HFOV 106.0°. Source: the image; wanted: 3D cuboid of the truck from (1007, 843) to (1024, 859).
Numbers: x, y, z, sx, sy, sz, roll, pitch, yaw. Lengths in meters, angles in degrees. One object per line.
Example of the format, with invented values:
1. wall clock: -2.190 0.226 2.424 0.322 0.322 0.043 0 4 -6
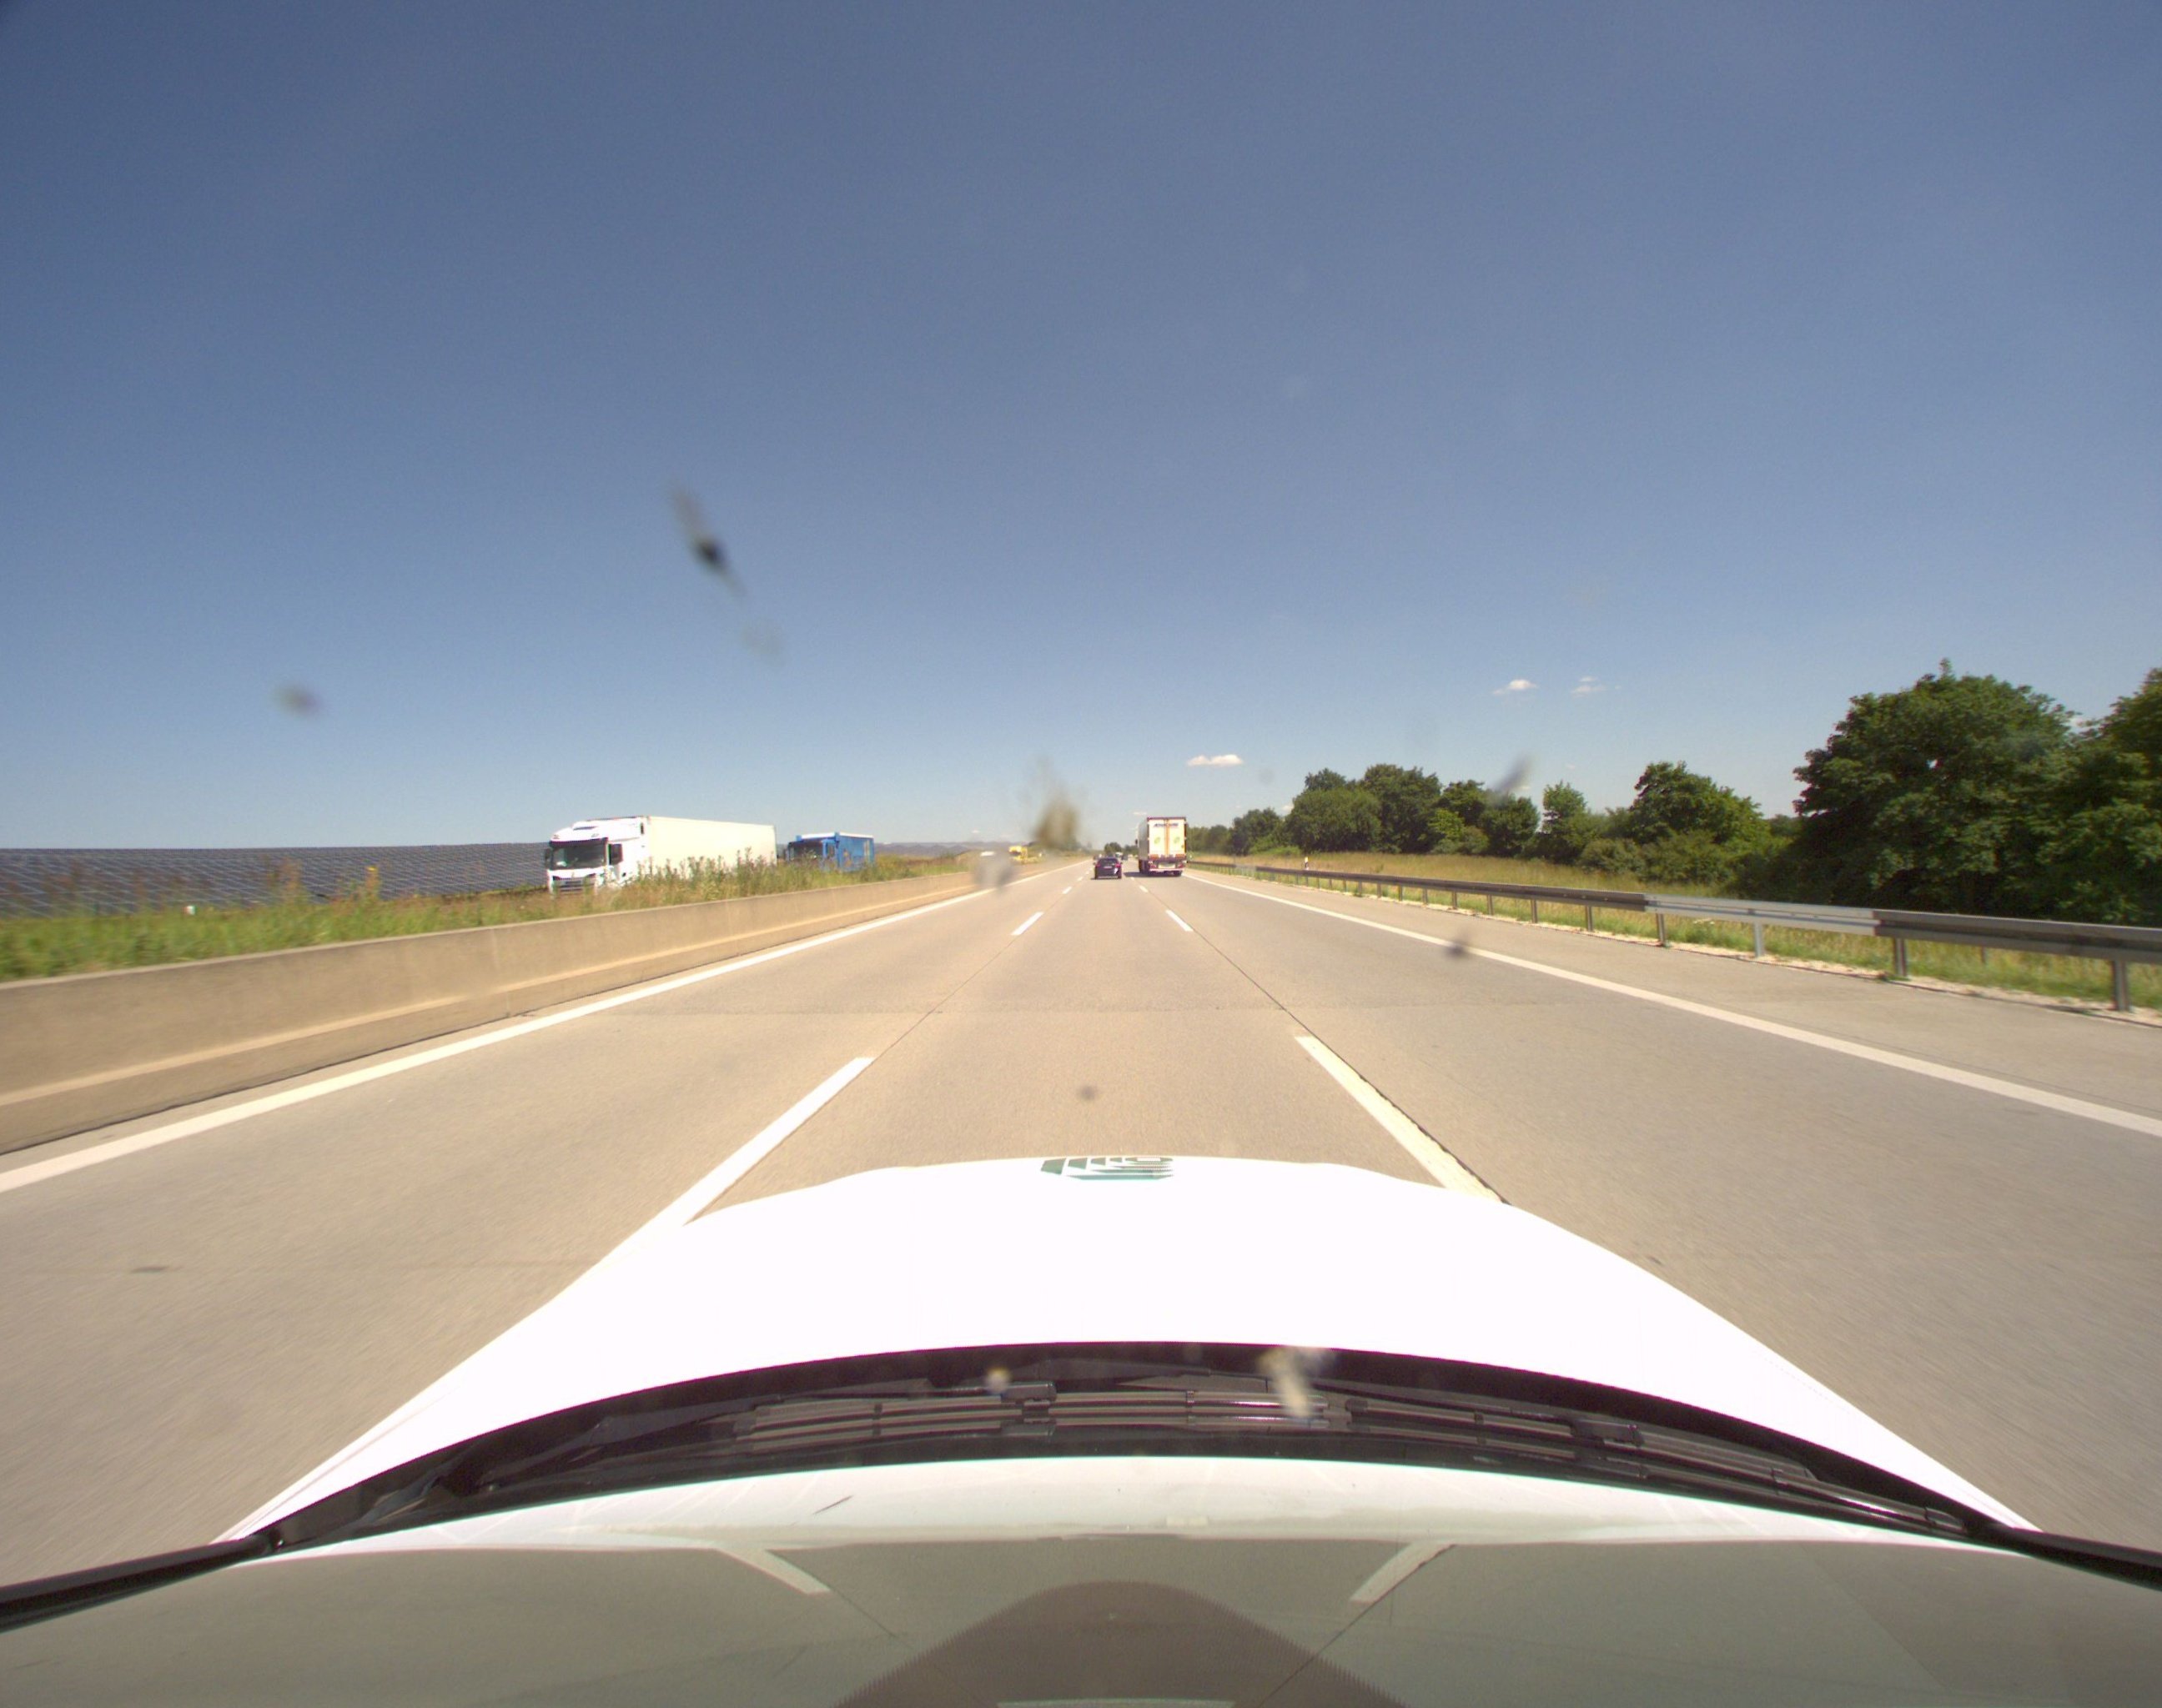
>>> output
1. truck: -14.394 -0.621 178.589 2.911 3.540 6.350 -1 -1 2

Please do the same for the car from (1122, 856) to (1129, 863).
1. car: 12.327 1.624 227.052 1.820 1.907 4.001 -1 -1 1

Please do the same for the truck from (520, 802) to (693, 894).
1. truck: -19.804 -0.190 34.637 3.110 3.487 6.888 0 -1 2

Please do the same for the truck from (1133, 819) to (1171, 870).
1. truck: 5.886 -0.725 68.226 2.801 4.088 5.800 -1 0 2

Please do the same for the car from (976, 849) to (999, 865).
1. car: -12.511 0.428 109.142 2.176 2.014 6.349 0 -1 1

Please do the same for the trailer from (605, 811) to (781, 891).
1. trailer: -19.445 -0.063 42.119 3.062 3.524 11.769 0 -1 2

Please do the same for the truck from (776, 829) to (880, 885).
1. truck: -15.153 0.226 49.853 2.814 3.064 10.378 0 -1 2

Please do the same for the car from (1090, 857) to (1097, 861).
1. car: 3.588 1.390 232.851 1.649 1.196 3.962 2 0 2

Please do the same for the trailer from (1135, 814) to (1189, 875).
1. trailer: 5.796 -0.631 60.457 2.843 4.042 12.713 -1 0 1

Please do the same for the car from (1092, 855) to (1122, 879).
1. car: 1.698 0.805 53.623 1.903 1.492 4.193 0 0 1

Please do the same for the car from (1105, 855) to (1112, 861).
1. car: 8.766 1.292 260.076 1.821 1.937 3.808 -1 -1 0
